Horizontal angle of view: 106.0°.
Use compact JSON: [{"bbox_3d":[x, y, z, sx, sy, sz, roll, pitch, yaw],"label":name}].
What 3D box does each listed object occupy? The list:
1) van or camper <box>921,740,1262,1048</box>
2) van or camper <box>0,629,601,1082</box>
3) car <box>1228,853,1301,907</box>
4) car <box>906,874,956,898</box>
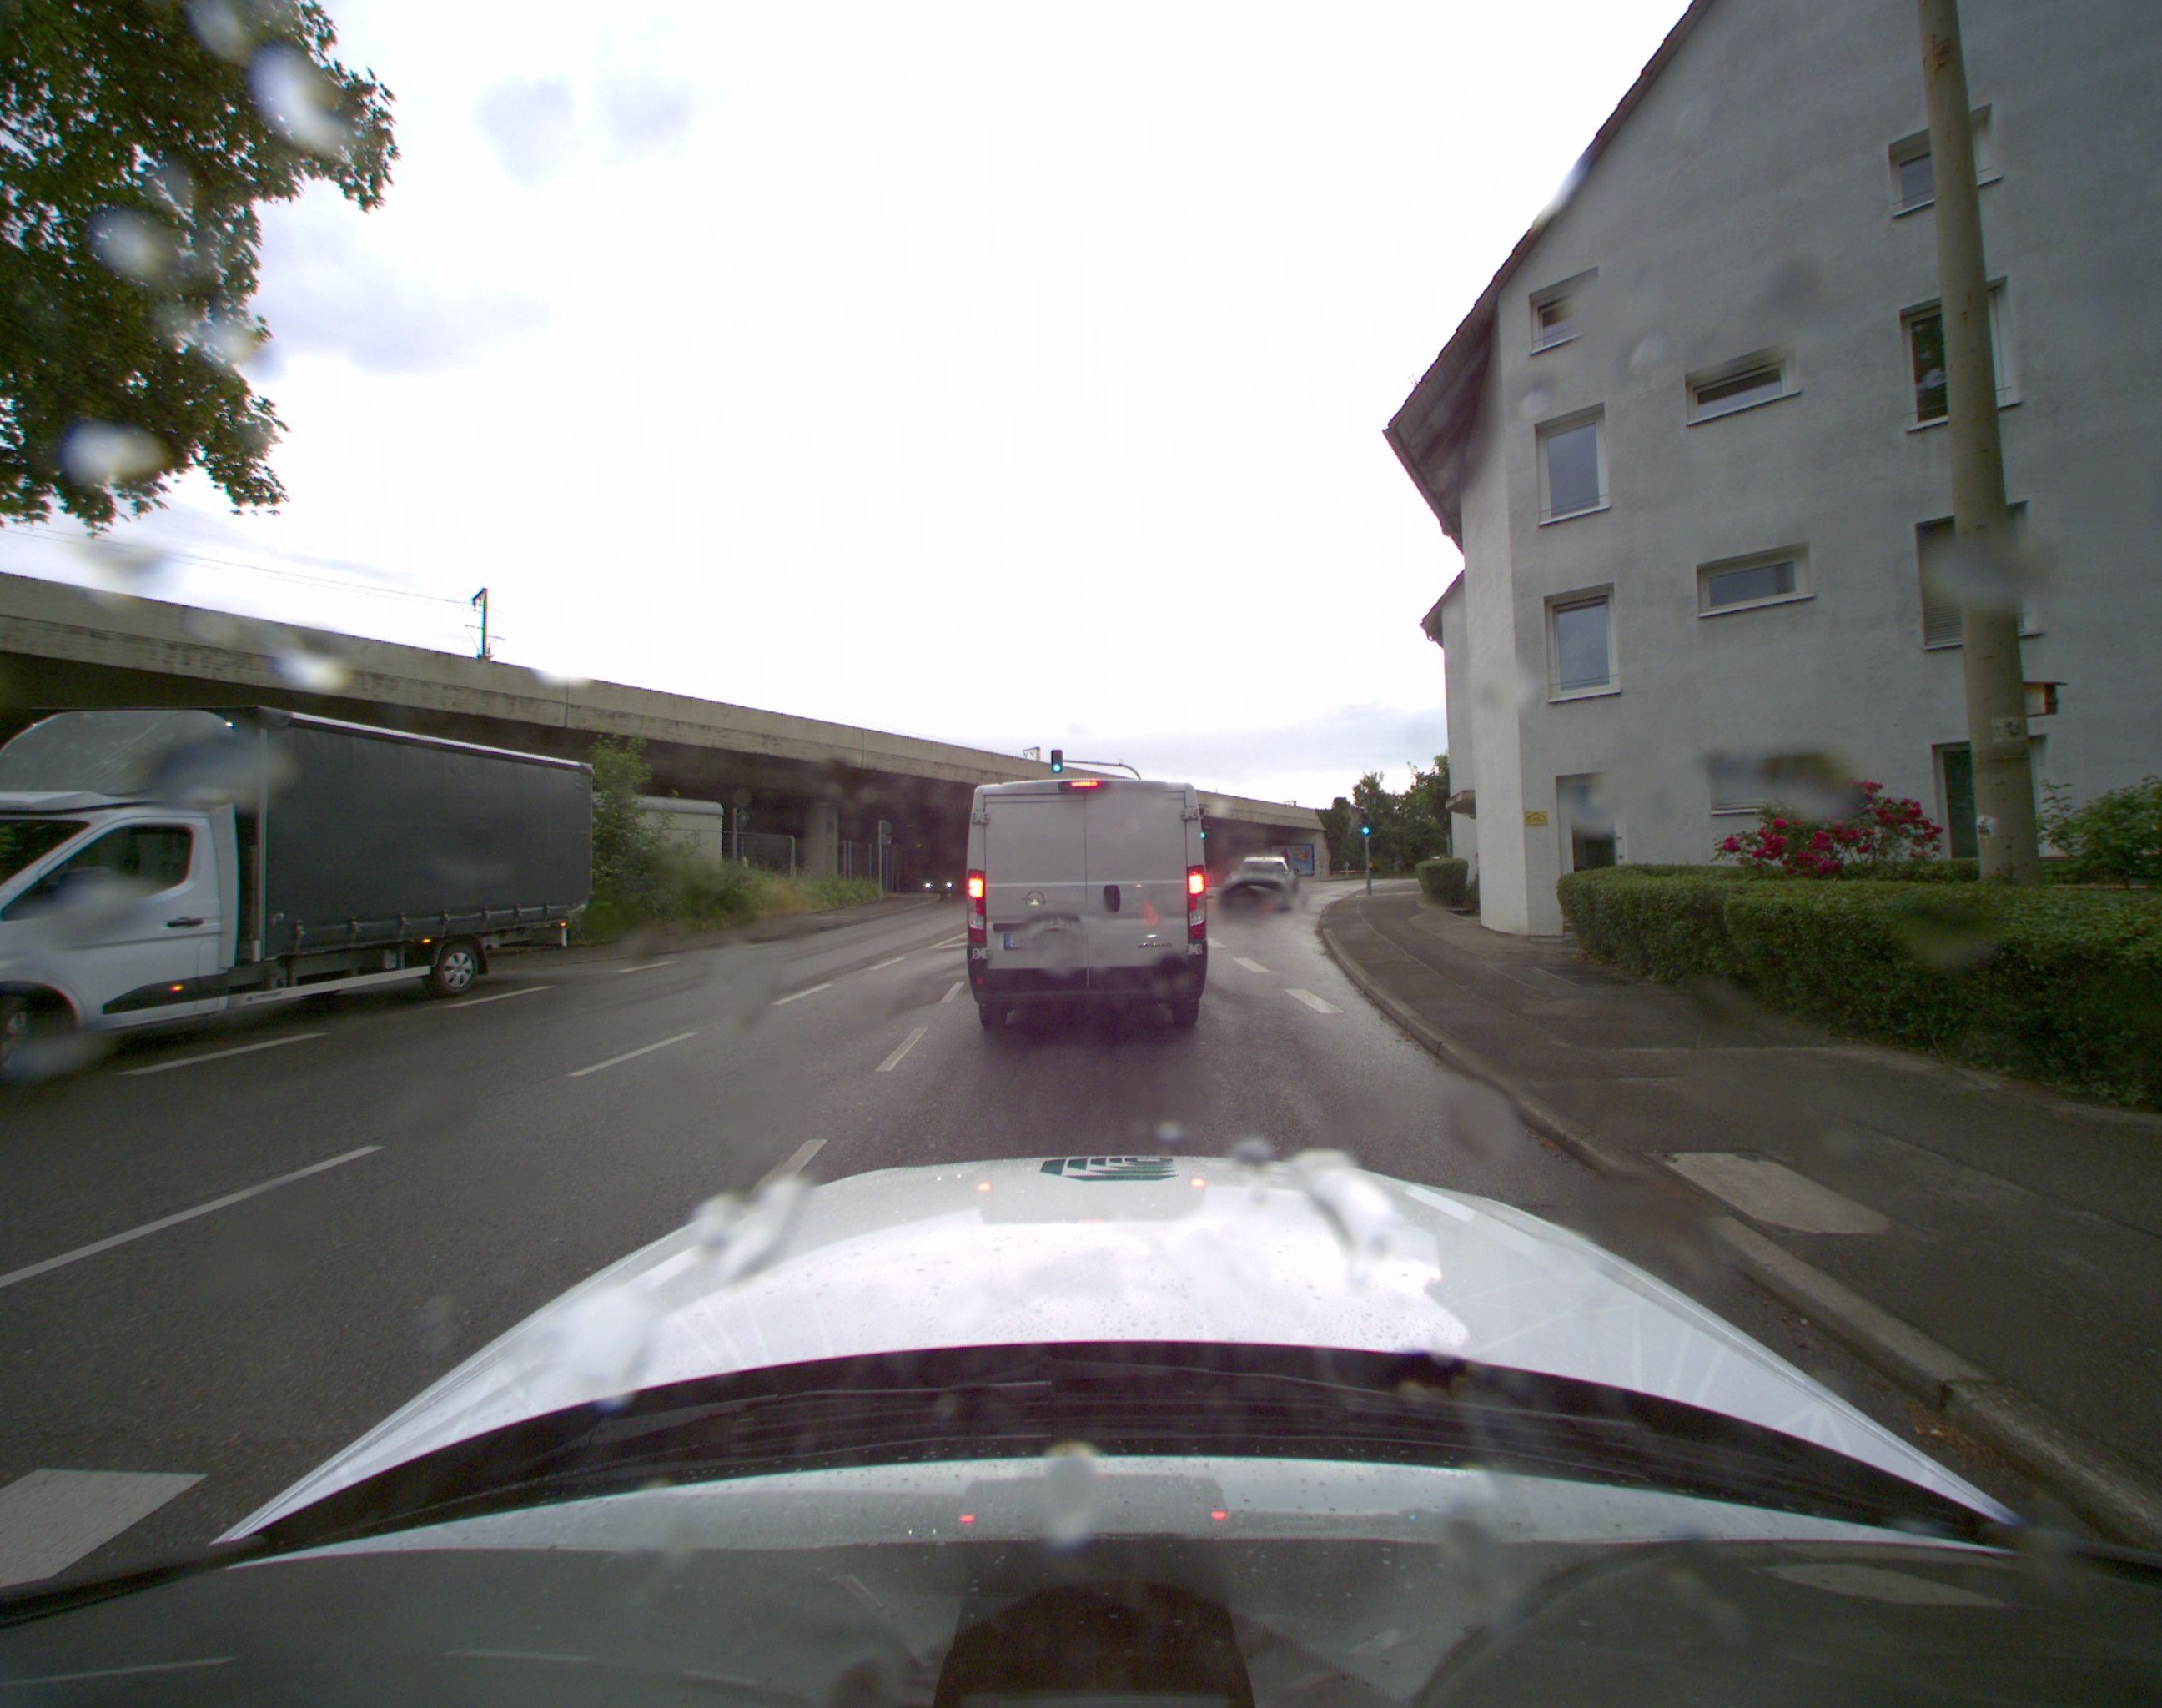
[{"bbox_3d":[0.082,0.340,8.977,2.690,2.417,4.902,-1,-1,0],"label":"van or camper"},{"bbox_3d":[-9.173,0.065,9.172,2.688,3.335,7.765,-1,-1,2],"label":"van or camper"},{"bbox_3d":[5.800,0.778,25.449,1.860,1.530,4.018,-1,-1,17],"label":"car"},{"bbox_3d":[-10.423,2.186,56.414,2.006,1.530,4.456,0,-1,-30],"label":"car"}]
